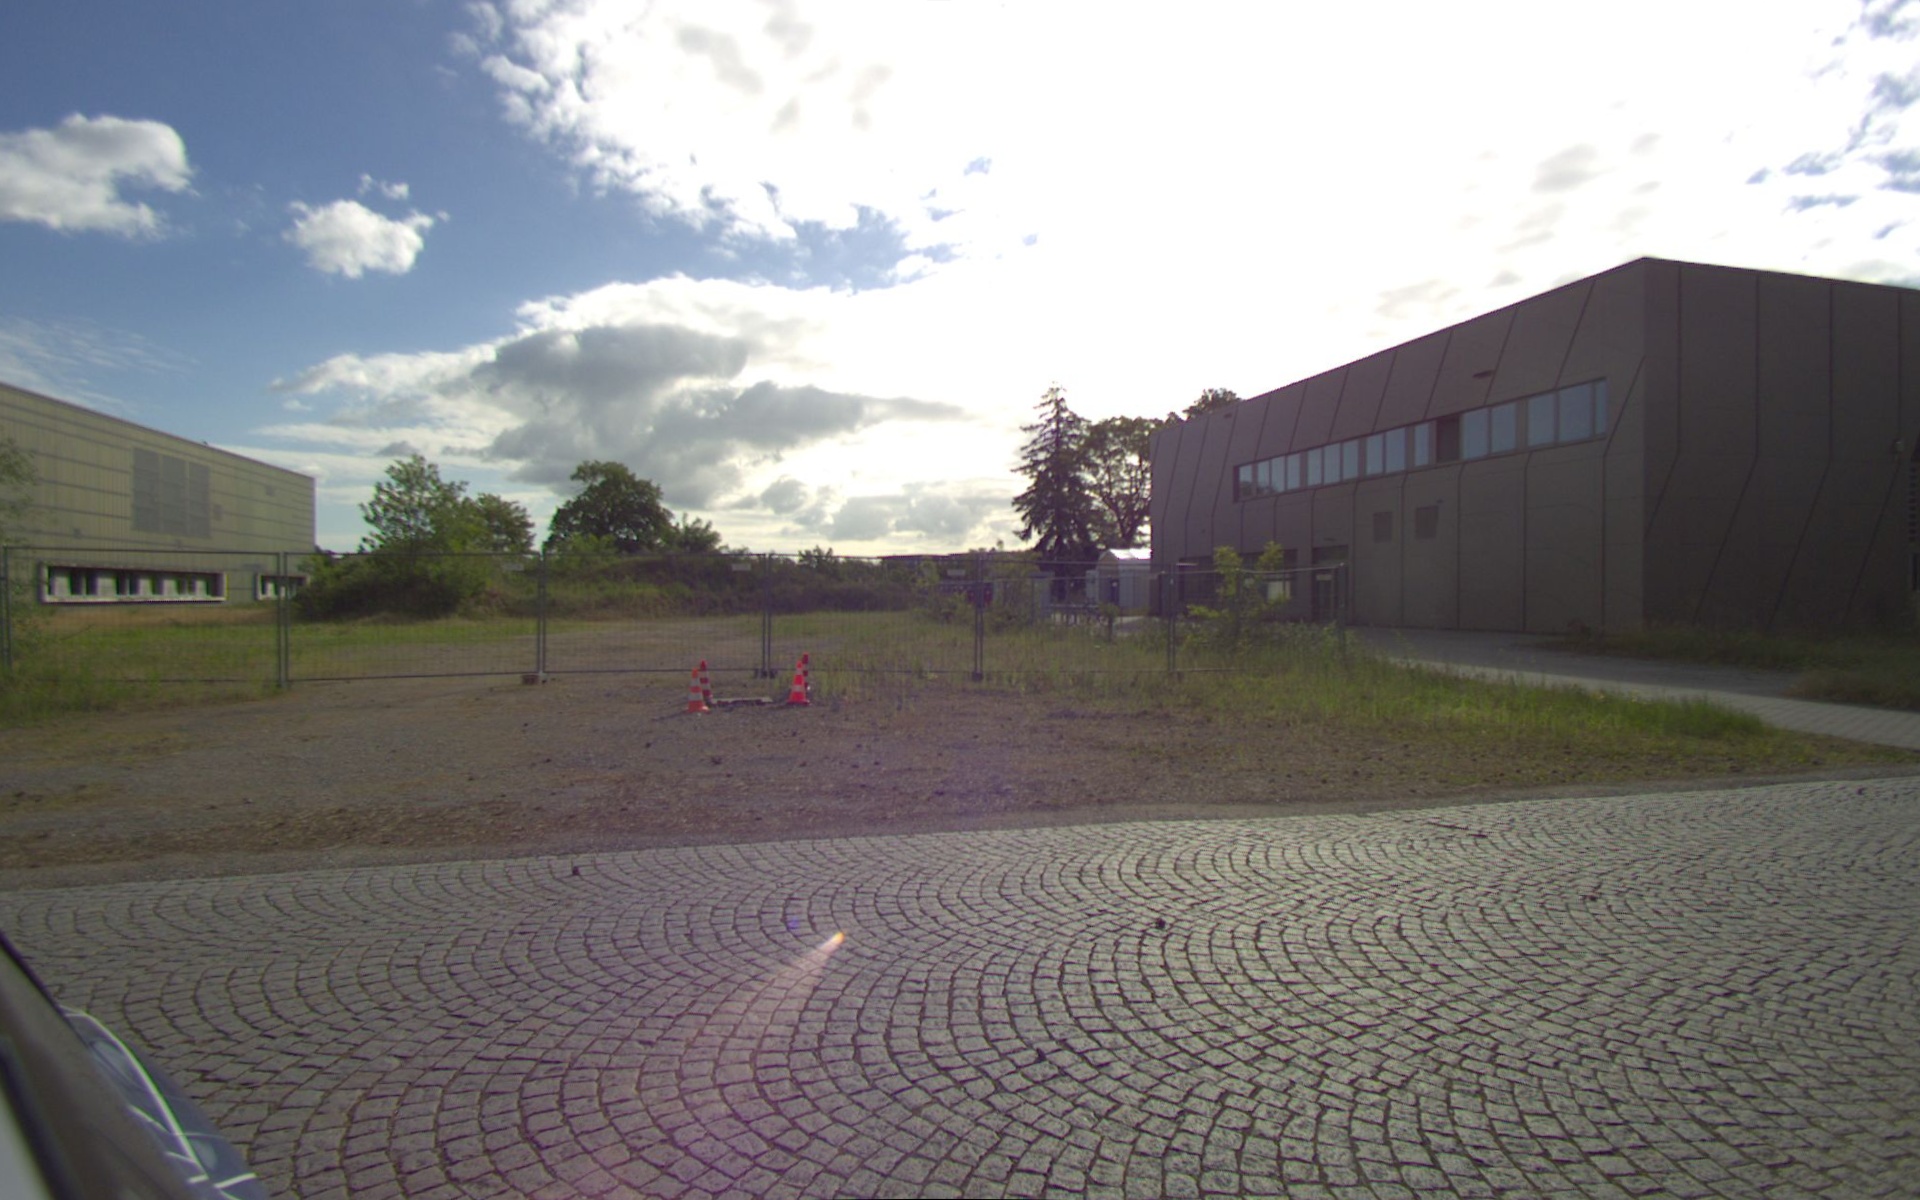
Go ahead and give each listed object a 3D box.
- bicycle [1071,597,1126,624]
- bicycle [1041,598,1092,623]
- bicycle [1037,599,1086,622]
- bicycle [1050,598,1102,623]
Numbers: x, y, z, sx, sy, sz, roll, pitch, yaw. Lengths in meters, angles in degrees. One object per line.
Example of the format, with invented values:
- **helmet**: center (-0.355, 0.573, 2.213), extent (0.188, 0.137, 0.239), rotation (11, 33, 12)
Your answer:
- **bicycle**: center (5.755, 0.437, 42.161), extent (2.034, 1.095, 0.949), rotation (0, 0, -16)
- **bicycle**: center (4.782, 0.462, 45.411), extent (2.034, 1.052, 0.949), rotation (0, 0, -16)
- **bicycle**: center (4.642, 0.475, 46.426), extent (2.034, 1.052, 0.949), rotation (0, 0, -16)
- **bicycle**: center (5.083, 0.445, 44.329), extent (2.034, 1.052, 0.949), rotation (0, 0, -16)
